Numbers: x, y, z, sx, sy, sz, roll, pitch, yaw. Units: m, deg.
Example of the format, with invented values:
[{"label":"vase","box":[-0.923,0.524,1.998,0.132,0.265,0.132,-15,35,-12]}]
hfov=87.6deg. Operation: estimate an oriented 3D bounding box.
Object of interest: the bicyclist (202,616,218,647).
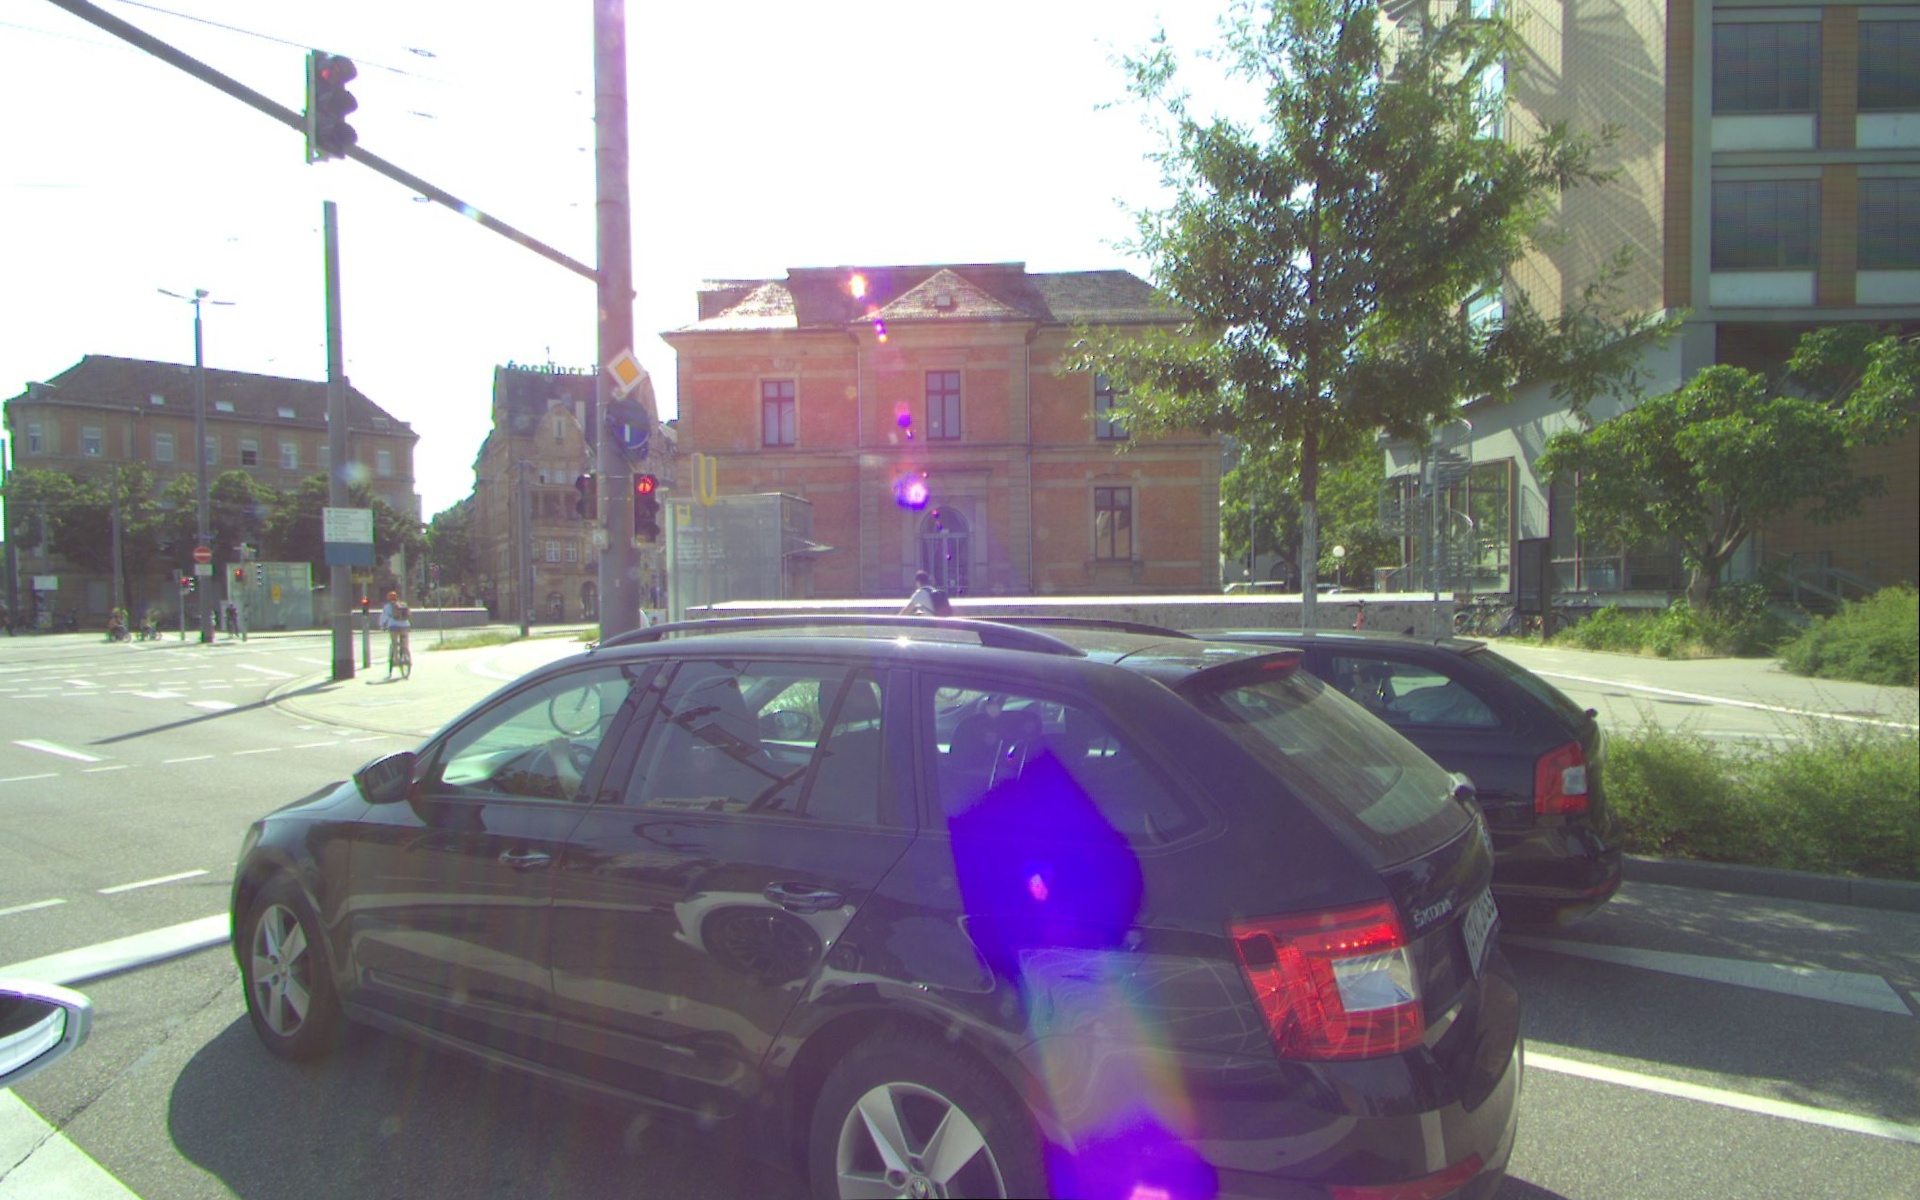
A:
[{"label":"bicyclist","box":[-40.114,1.694,53.563,0.641,1.642,0.498,0,-1,38]}]

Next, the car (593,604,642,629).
[{"label":"car","box":[-19.235,0.888,56.351,1.639,1.331,3.452,-1,0,-1]}]

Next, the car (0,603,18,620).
[{"label":"car","box":[-117.166,1.415,122.922,2.094,2.040,3.962,-1,0,-43]}]

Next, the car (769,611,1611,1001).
[{"label":"car","box":[1.094,0.806,5.701,4.335,1.448,1.696,0,0,33]}]

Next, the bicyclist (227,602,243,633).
[{"label":"bicyclist","box":[-39.030,0.927,53.886,0.660,1.645,0.777,1,0,-35]}]

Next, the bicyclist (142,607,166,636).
[{"label":"bicyclist","box":[-41.023,1.084,50.968,0.919,1.470,1.242,1,-1,-38]}]

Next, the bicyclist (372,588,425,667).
[{"label":"bicyclist","box":[-12.482,0.605,22.261,0.864,1.692,0.710,0,3,40]}]

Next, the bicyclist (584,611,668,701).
[{"label":"bicyclist","box":[-4.257,0.689,12.731,0.901,1.043,0.714,-3,2,-24]}]

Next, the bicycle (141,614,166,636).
[{"label":"bicycle","box":[-40.983,1.280,50.918,0.919,1.083,2.819,1,-1,-38]}]

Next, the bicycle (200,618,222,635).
[{"label":"bicycle","box":[-40.037,1.409,53.519,1.567,0.877,0.498,0,-1,38]}]

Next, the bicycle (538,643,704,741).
[{"label":"bicycle","box":[-4.299,1.131,12.717,1.887,1.029,0.714,-3,2,-24]}]

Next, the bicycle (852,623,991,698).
[{"label":"bicycle","box":[-0.592,0.882,14.899,1.991,1.029,0.712,-1,1,32]}]

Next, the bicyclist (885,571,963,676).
[{"label":"bicyclist","box":[-0.529,0.359,14.869,0.936,1.507,0.713,-1,-2,31]}]

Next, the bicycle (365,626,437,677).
[{"label":"bicycle","box":[-12.466,1.119,22.296,1.997,1.029,0.710,-1,3,41]}]

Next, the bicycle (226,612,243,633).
[{"label":"bicycle","box":[-38.971,1.214,53.800,0.660,1.083,2.447,1,-1,-35]}]

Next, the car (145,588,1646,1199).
[{"label":"car","box":[-0.669,0.772,3.287,4.710,1.454,1.628,-1,-1,31]}]

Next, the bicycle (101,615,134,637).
[{"label":"bicycle","box":[-41.878,1.315,49.776,2.717,1.083,0.922,-2,-2,42]}]

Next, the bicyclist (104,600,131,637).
[{"label":"bicyclist","box":[-41.934,0.928,49.841,1.041,1.843,0.922,-1,-2,42]}]
